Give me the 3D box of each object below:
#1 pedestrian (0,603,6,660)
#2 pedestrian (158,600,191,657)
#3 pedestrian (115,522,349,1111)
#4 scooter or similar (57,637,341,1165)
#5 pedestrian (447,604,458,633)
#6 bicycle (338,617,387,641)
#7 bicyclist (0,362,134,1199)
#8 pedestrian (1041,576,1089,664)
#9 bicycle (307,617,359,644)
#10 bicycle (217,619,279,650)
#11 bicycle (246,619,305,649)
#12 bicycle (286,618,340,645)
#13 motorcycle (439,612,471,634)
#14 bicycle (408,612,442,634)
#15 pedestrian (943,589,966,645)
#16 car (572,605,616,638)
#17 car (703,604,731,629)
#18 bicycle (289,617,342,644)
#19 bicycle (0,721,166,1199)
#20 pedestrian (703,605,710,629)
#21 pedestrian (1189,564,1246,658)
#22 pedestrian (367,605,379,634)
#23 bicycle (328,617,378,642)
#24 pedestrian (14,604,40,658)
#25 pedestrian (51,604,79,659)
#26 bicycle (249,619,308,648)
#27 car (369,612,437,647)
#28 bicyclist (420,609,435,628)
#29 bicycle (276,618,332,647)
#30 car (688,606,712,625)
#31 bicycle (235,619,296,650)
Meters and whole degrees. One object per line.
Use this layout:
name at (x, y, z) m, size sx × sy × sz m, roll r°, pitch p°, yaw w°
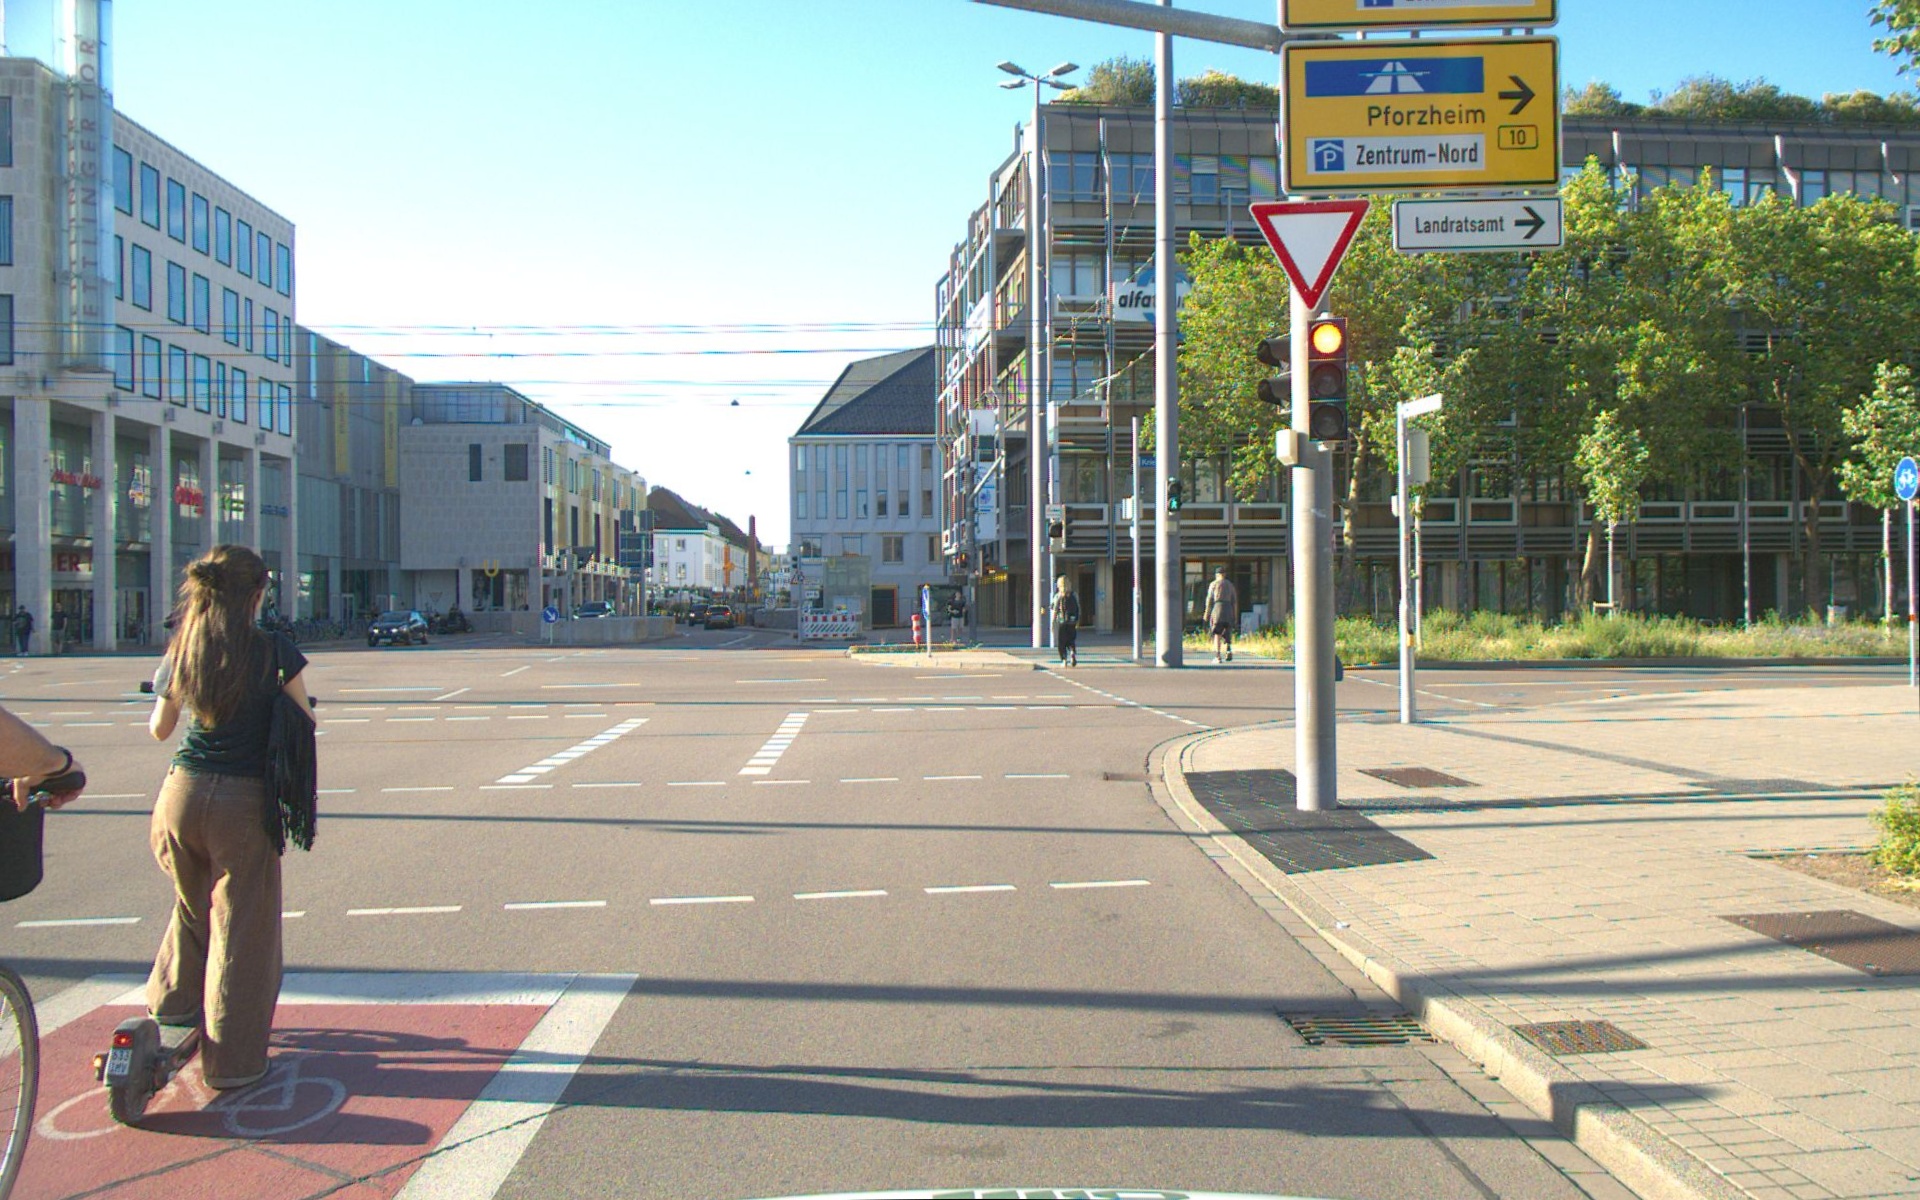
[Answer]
pedestrian at (-33.236, 1.074, 56.862) m, size 0.706 × 1.918 × 0.780 m, roll 1°, pitch -1°, yaw -28°
pedestrian at (-28.569, 1.029, 60.175) m, size 0.868 × 2.049 × 0.771 m, roll 1°, pitch -1°, yaw -12°
pedestrian at (-2.188, 0.615, 5.026) m, size 0.540 × 1.661 × 0.569 m, roll 1°, pitch -1°, yaw -16°
scooter or similar at (-2.178, 0.783, 4.859) m, size 0.538 × 1.316 × 1.189 m, roll 1°, pitch 0°, yaw -15°
pedestrian at (-30.096, 1.092, 98.078) m, size 0.512 × 1.709 × 0.581 m, roll 1°, pitch 0°, yaw -14°
bicycle at (-30.813, 1.489, 85.337) m, size 2.260 × 1.244 × 0.611 m, roll 0°, pitch 0°, yaw -3°
bicyclist at (-1.978, 0.462, 2.851) m, size 0.647 × 1.750 × 0.865 m, roll 1°, pitch -1°, yaw -1°
pedestrian at (1.845, 0.356, 29.135) m, size 0.772 × 1.518 × 0.644 m, roll 1°, pitch -1°, yaw -1°
bicycle at (-30.332, 1.474, 80.050) m, size 2.260 × 1.244 × 0.611 m, roll 0°, pitch 0°, yaw -3°
bicycle at (-29.332, 1.437, 68.116) m, size 2.260 × 1.244 × 0.611 m, roll 0°, pitch 0°, yaw -3°
bicycle at (-29.289, 1.450, 70.756) m, size 2.260 × 1.244 × 0.611 m, roll 0°, pitch 0°, yaw -3°
bicycle at (-30.063, 1.464, 76.848) m, size 2.260 × 1.244 × 0.611 m, roll 0°, pitch 0°, yaw -3°
motorcycle at (-29.758, 1.346, 97.475) m, size 1.775 × 1.228 × 0.509 m, roll 1°, pitch 0°, yaw -16°
bicycle at (-30.282, 1.275, 93.651) m, size 0.502 × 1.228 × 1.801 m, roll 1°, pitch 0°, yaw 40°
pedestrian at (-0.202, 0.589, 57.296) m, size 0.772 × 1.923 × 0.644 m, roll 1°, pitch -1°, yaw -1°
car at (-20.023, 1.159, 90.532) m, size 1.762 × 1.686 × 3.996 m, roll 1°, pitch 0°, yaw -5°
car at (-15.822, 1.078, 107.945) m, size 1.705 × 1.558 × 3.849 m, roll 1°, pitch 0°, yaw -8°
bicycle at (-30.712, 1.462, 78.818) m, size 2.260 × 1.244 × 0.611 m, roll 0°, pitch 0°, yaw -3°
bicycle at (-2.082, 0.867, 2.926) m, size 0.475 × 1.176 × 1.831 m, roll 1°, pitch 0°, yaw -1°
pedestrian at (-17.894, 1.202, 116.736) m, size 0.511 × 1.709 × 0.582 m, roll 1°, pitch 0°, yaw -8°
pedestrian at (4.731, 0.207, 30.447) m, size 0.861 × 1.694 × 0.964 m, roll 1°, pitch -1°, yaw -1°
pedestrian at (-35.226, 1.169, 99.178) m, size 0.560 × 1.709 × 0.614 m, roll 1°, pitch 0°, yaw -10°
bicycle at (-30.925, 1.483, 84.267) m, size 2.260 × 1.244 × 0.611 m, roll 0°, pitch 0°, yaw -3°
pedestrian at (-32.861, 1.089, 58.263) m, size 0.787 × 1.876 × 0.856 m, roll 0°, pitch 0°, yaw -29°
pedestrian at (-31.170, 1.080, 57.603) m, size 0.788 × 1.876 × 0.854 m, roll 0°, pitch 0°, yaw -33°
bicycle at (-29.502, 1.450, 71.632) m, size 2.260 × 1.244 × 0.611 m, roll 0°, pitch 0°, yaw -3°
car at (-23.376, 1.220, 69.484) m, size 1.597 × 1.365 × 3.998 m, roll -3°, pitch 0°, yaw -3°
bicyclist at (-30.181, 1.053, 93.790) m, size 0.502 × 1.103 × 0.622 m, roll 1°, pitch 0°, yaw 40°
bicycle at (-29.602, 1.462, 74.697) m, size 2.260 × 1.244 × 0.611 m, roll 0°, pitch 0°, yaw -3°
car at (-22.982, 1.361, 146.545) m, size 1.762 × 1.686 × 3.996 m, roll 1°, pitch 0°, yaw -5°
bicycle at (-29.125, 1.447, 69.402) m, size 2.260 × 1.244 × 0.611 m, roll 0°, pitch 0°, yaw -3°
